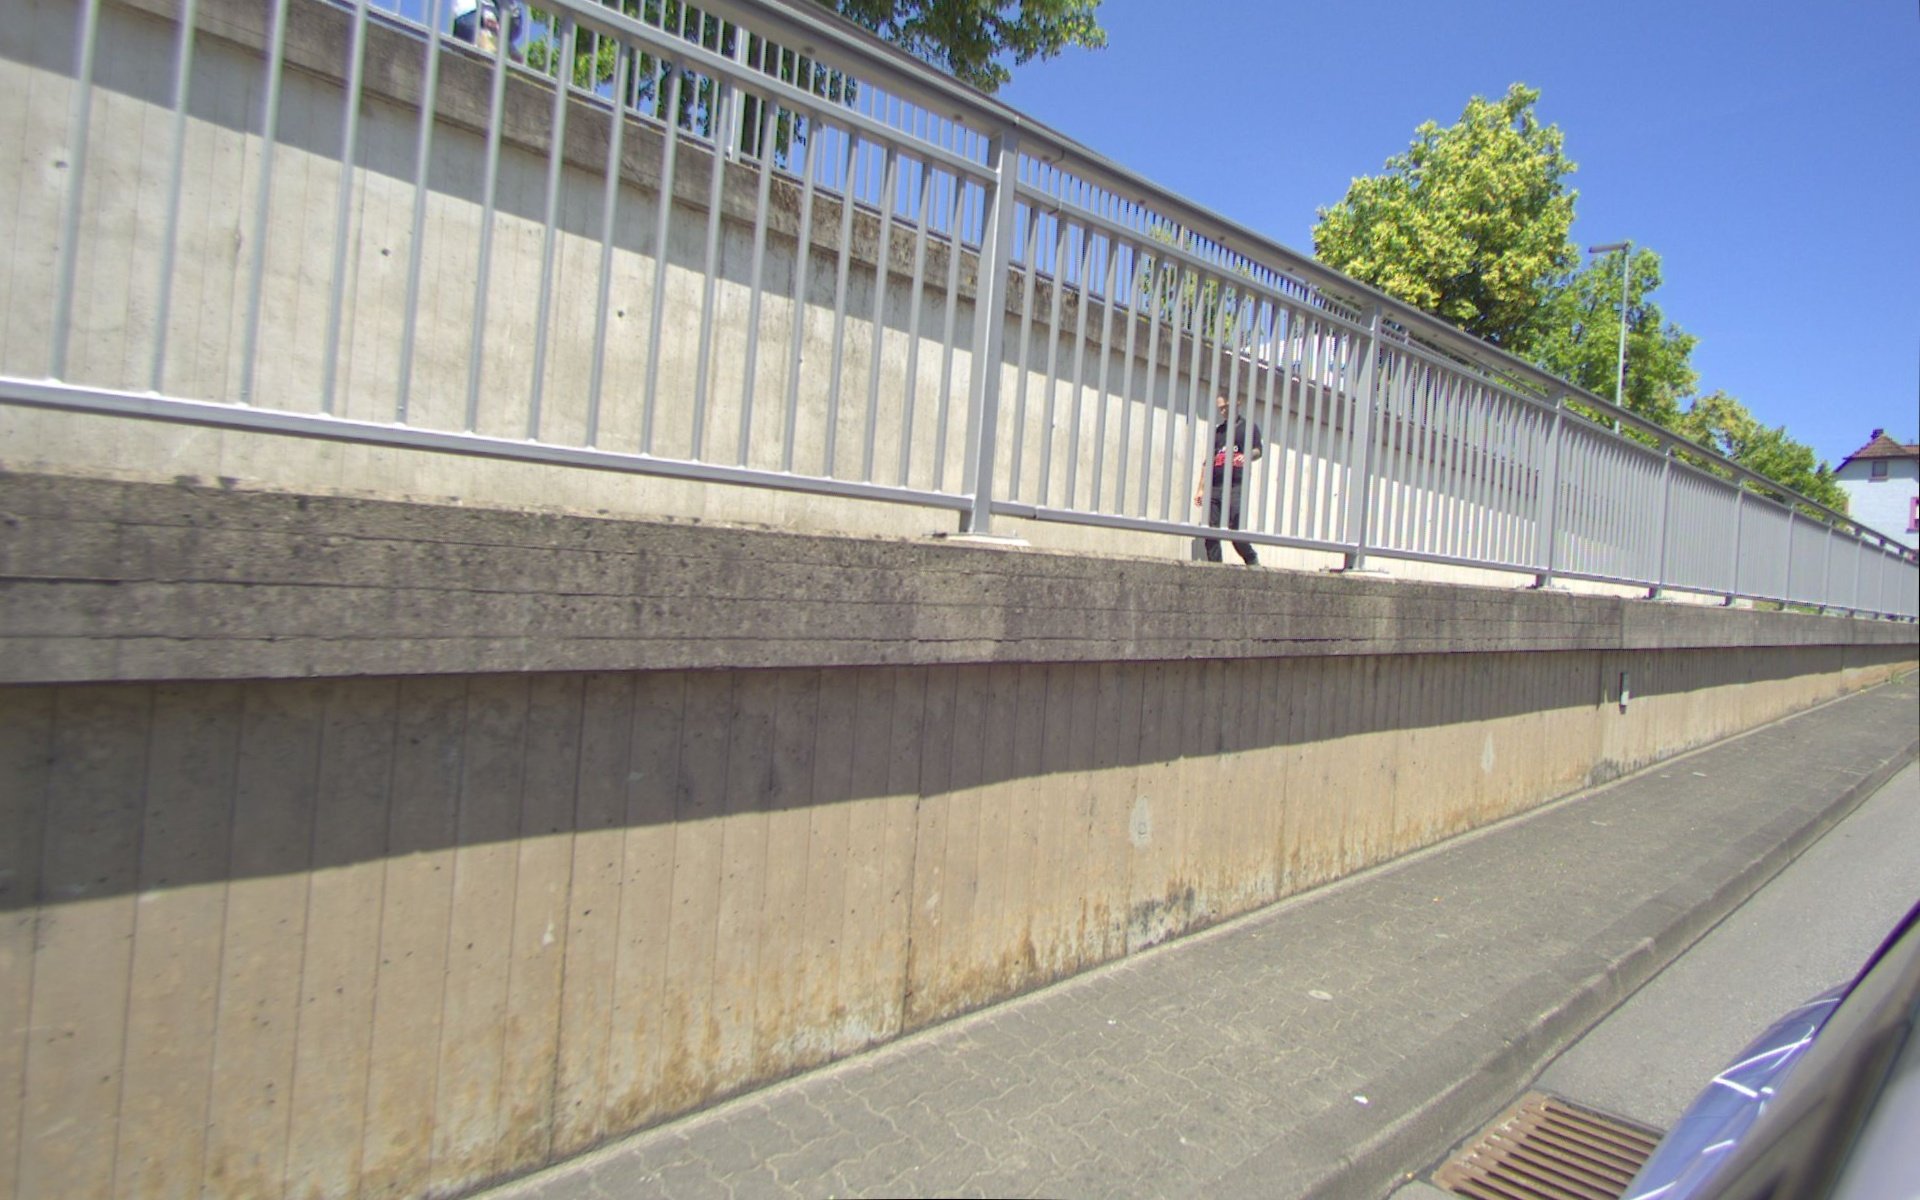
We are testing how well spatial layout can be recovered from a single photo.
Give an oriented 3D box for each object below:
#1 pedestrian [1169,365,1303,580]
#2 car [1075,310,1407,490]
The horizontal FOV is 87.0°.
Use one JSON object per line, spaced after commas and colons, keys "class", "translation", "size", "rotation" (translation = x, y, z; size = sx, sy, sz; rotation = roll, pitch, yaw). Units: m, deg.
{"class": "pedestrian", "translation": [2.503, -1.107, 9.189], "size": [0.774, 1.804, 0.838], "rotation": [1, 1, -40]}
{"class": "car", "translation": [4.521, -3.144, 17.078], "size": [1.952, 2.089, 5.125], "rotation": [4, -1, -39]}
